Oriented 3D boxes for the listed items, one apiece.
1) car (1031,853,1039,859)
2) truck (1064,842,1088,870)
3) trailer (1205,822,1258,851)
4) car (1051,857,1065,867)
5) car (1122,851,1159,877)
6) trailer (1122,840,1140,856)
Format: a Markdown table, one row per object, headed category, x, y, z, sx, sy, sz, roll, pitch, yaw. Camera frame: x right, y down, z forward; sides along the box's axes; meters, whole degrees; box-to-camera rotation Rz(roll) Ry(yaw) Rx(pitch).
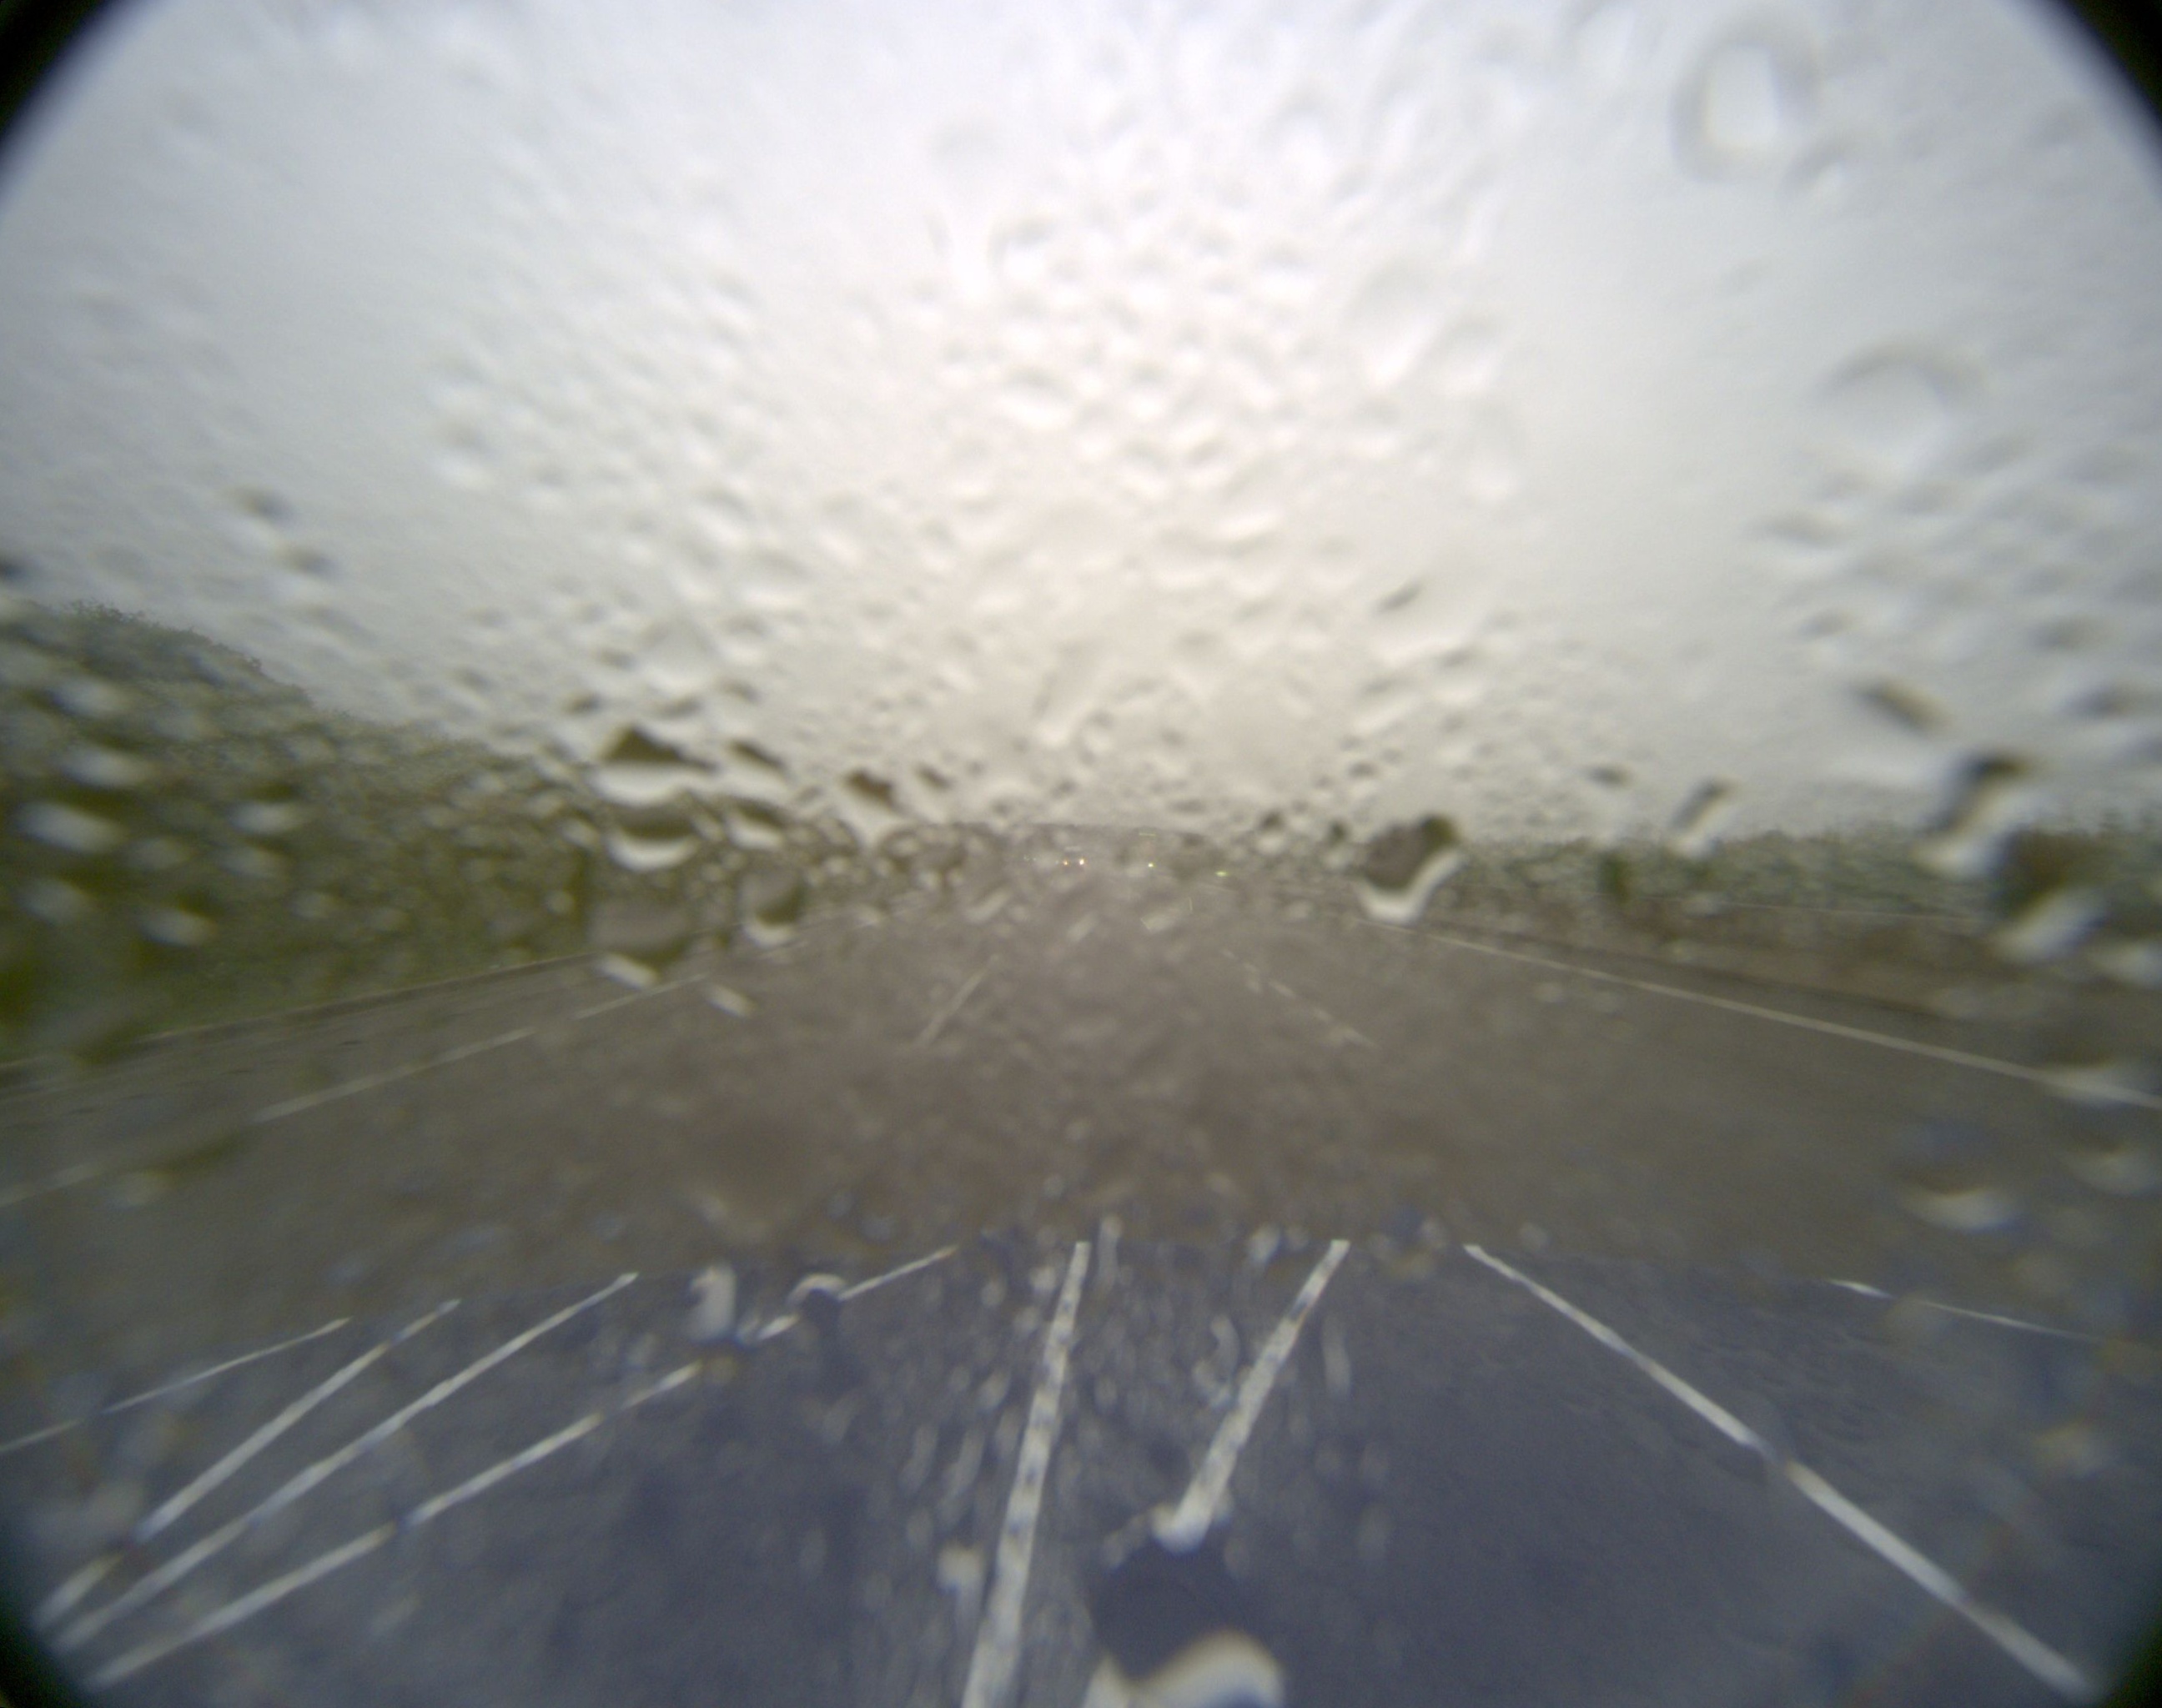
| category | x | y | z | sx | sy | sz | roll | pitch | yaw |
| --- | --- | --- | --- | --- | --- | --- | --- | --- | --- |
| car | -11.899 | 0.442 | 196.460 | 1.999 | 1.543 | 3.998 | -2 | 0 | -3 |
| truck | -0.572 | 0.132 | 79.003 | 1.999 | 2.699 | 7.995 | -2 | 2 | -3 |
| trailer | 18.314 | -2.199 | 93.697 | 2.996 | 3.126 | 15.713 | -2 | 2 | -2 |
| car | -3.873 | 1.282 | 126.563 | 1.999 | 1.521 | 3.997 | -2 | 0 | -6 |
| car | 3.885 | 0.635 | 50.169 | 1.999 | 1.608 | 3.999 | -2 | 0 | -2 |
| trailer | 12.653 | -1.532 | 194.167 | 2.952 | 3.959 | 14.301 | -2 | 0 | -2 |
